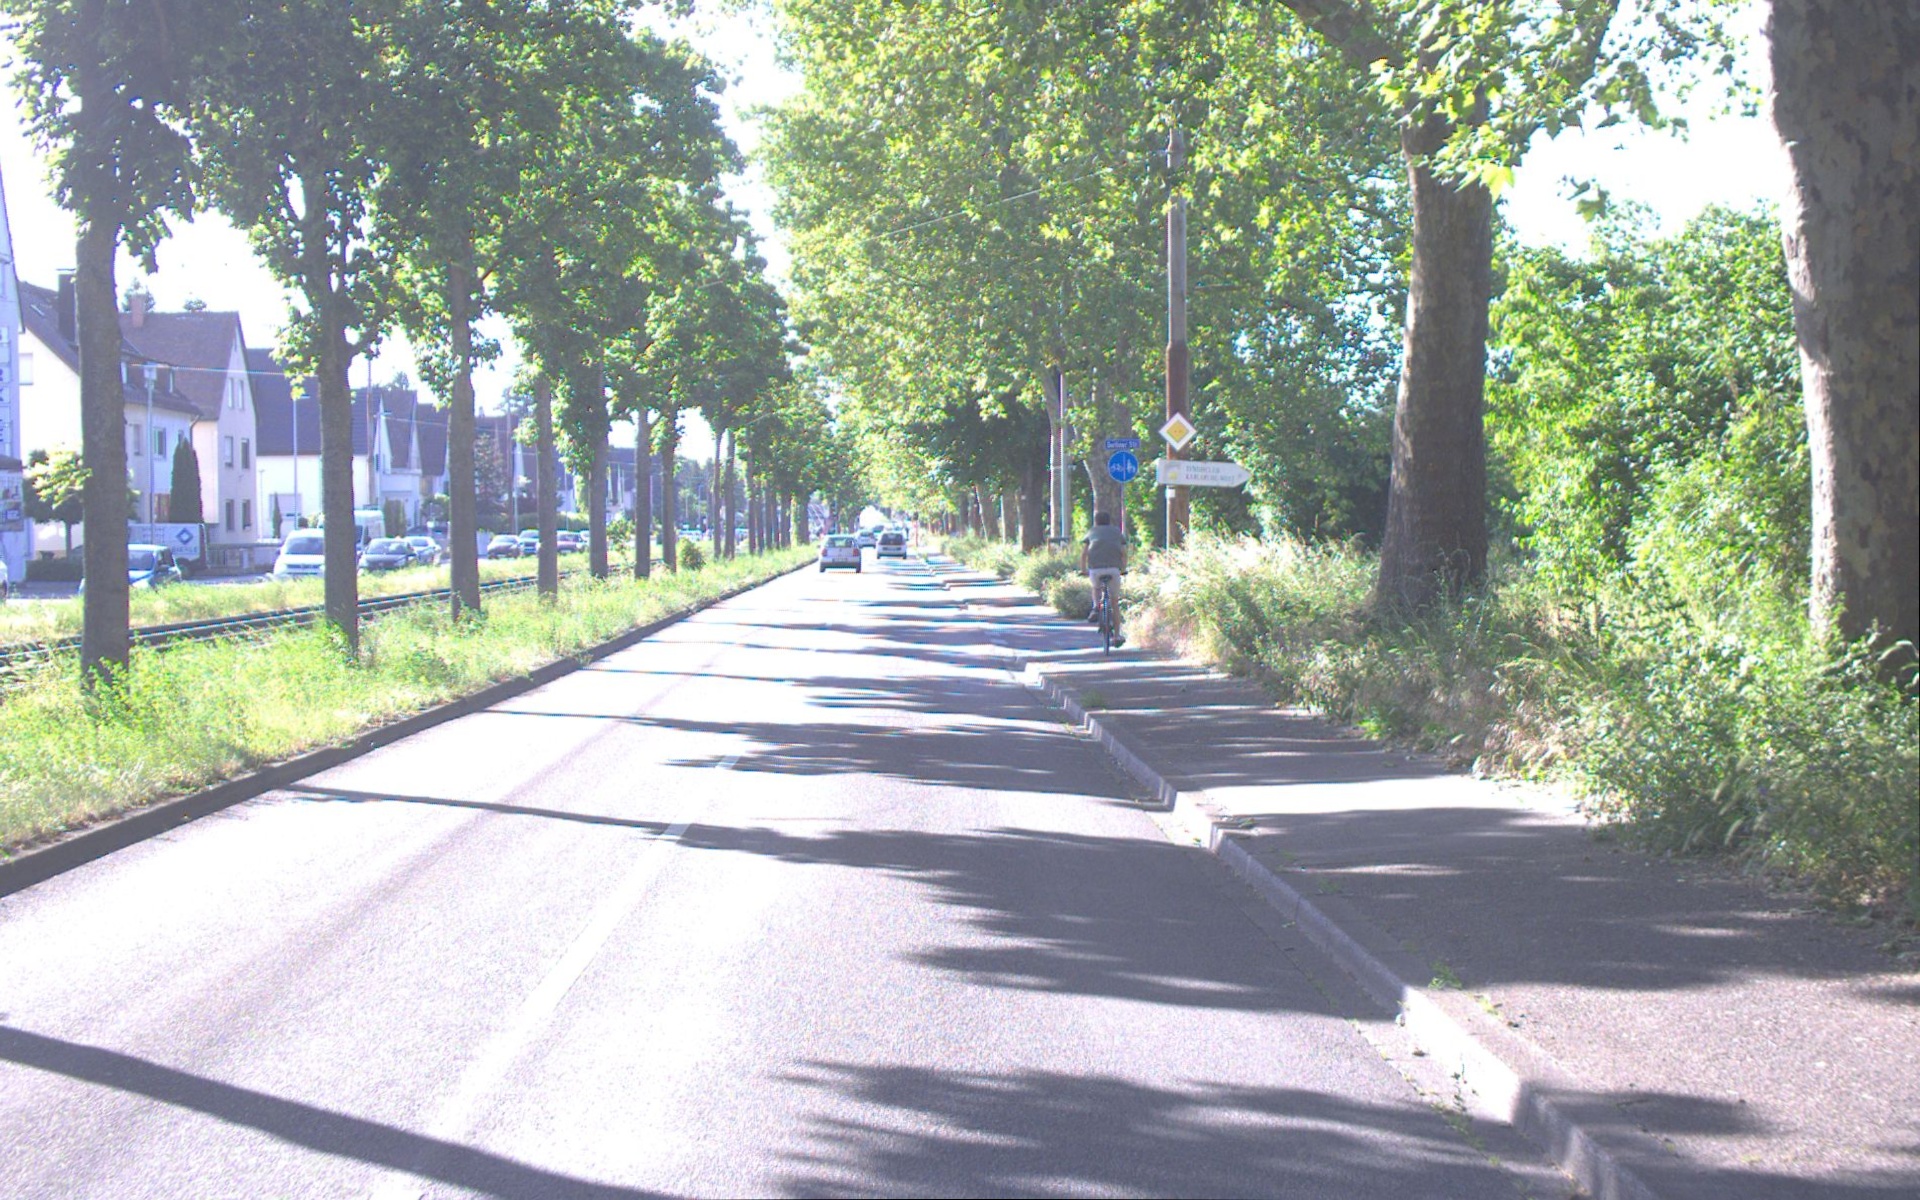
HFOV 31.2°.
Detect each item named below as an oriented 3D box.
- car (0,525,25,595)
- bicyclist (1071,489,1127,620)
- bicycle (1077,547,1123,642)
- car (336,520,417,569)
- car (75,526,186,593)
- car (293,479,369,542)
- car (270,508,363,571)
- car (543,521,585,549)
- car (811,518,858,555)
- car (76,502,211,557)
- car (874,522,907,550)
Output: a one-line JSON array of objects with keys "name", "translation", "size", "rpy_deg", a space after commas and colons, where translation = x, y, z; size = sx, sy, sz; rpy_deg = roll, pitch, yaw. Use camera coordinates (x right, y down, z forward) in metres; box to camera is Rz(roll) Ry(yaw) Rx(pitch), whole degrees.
[{"name": "car", "translation": [-22.759, -0.918, 78.026], "size": [1.823, 1.601, 4.774], "rpy_deg": [1, 1, -1]}, {"name": "bicyclist", "translation": [1.752, -0.583, 43.547], "size": [0.613, 1.623, 0.909], "rpy_deg": [-1, 1, -1]}, {"name": "bicycle", "translation": [1.764, -0.081, 43.600], "size": [0.440, 1.149, 1.823], "rpy_deg": [-1, 1, -1]}, {"name": "car", "translation": [-19.224, -1.830, 113.463], "size": [1.993, 1.526, 3.751], "rpy_deg": [-1, 1, 0]}, {"name": "car", "translation": [-17.958, -0.896, 74.525], "size": [1.557, 1.390, 3.821], "rpy_deg": [1, 1, -1]}, {"name": "car", "translation": [-25.212, -3.556, 137.995], "size": [1.993, 2.451, 6.675], "rpy_deg": [1, 1, -2]}, {"name": "car", "translation": [-18.380, -1.737, 98.364], "size": [1.810, 1.738, 4.982], "rpy_deg": [1, 1, -1]}, {"name": "car", "translation": [-20.222, -3.331, 175.658], "size": [1.676, 1.405, 4.001], "rpy_deg": [-1, 1, -1]}, {"name": "car", "translation": [-4.824, -2.435, 132.361], "size": [1.738, 1.396, 3.277], "rpy_deg": [1, 1, -1]}, {"name": "car", "translation": [-29.084, -2.525, 122.633], "size": [4.616, 1.939, 2.001], "rpy_deg": [0, 1, -11]}, {"name": "car", "translation": [-3.806, -3.549, 189.640], "size": [1.761, 1.508, 3.277], "rpy_deg": [1, 1, 0]}]
